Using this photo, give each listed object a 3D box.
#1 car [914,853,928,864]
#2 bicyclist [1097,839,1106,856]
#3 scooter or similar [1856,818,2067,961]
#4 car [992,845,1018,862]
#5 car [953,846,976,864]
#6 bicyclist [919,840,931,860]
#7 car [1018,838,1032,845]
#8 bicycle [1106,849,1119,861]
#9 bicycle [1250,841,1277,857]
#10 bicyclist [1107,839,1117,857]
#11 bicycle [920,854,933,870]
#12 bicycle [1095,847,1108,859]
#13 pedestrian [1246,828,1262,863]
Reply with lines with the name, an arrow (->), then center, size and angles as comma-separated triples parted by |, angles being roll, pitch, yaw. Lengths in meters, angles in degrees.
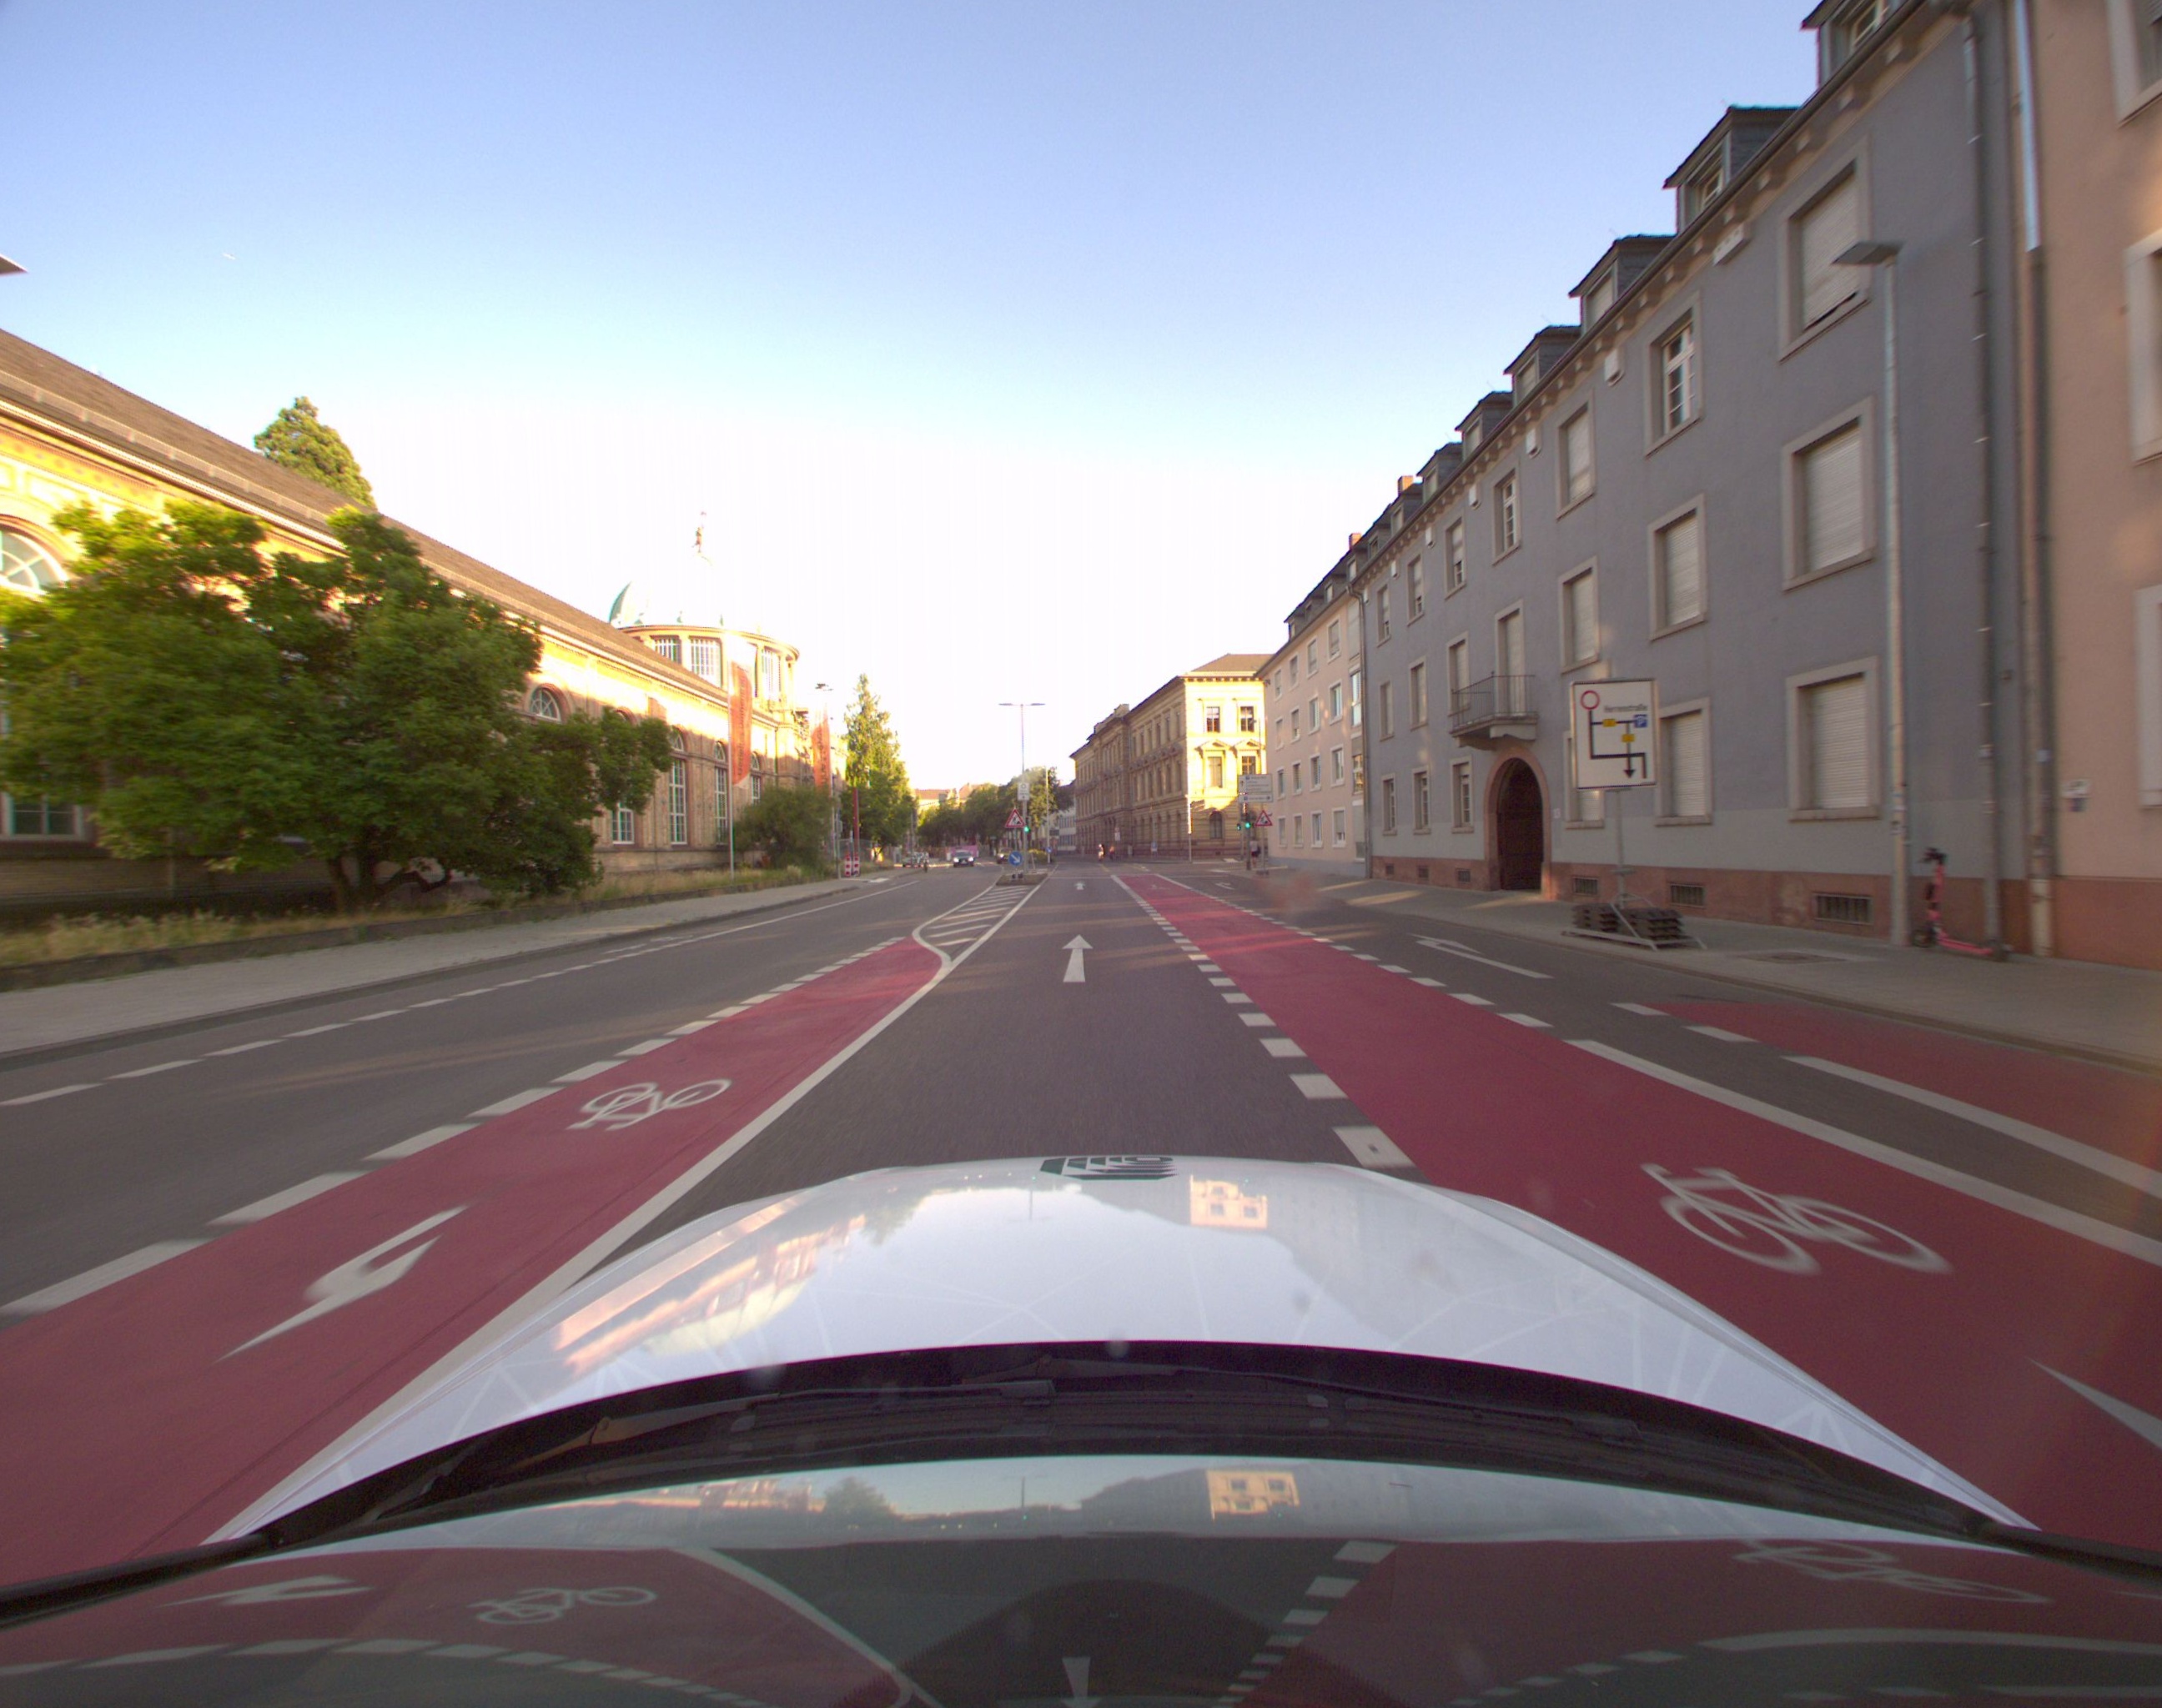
car -> -20.408, 0.565, 103.787 | 1.681, 1.351, 3.871 | -3, 1, -12
bicyclist -> 1.900, -0.601, 76.955 | 0.670, 1.566, 0.695 | 1, 0, -16
scooter or similar -> 10.002, 0.358, 9.357 | 0.721, 1.459, 1.677 | -4, 0, 10
car -> -7.386, -0.047, 79.516 | 1.837, 1.547, 4.123 | -2, 1, 4
car -> -10.608, 0.053, 74.228 | 1.821, 1.508, 4.418 | -2, 1, -6
bicyclist -> -11.750, -0.299, 61.524 | 0.746, 1.460, 0.935 | -3, 1, -7
car -> -11.969, -2.671, 173.680 | 1.819, 1.560, 3.837 | -1, 0, -21
bicycle -> 2.969, 0.100, 77.209 | 0.653, 1.071, 2.247 | 1, 0, -13
bicycle -> 15.568, -0.416, 69.424 | 2.045, 1.207, 0.861 | -2, 3, -3
bicyclist -> 2.944, -0.582, 77.334 | 0.650, 1.760, 0.860 | 0, 0, -14
bicycle -> -11.708, 0.581, 61.597 | 0.752, 1.090, 1.928 | -4, 1, -6
bicycle -> 1.914, -0.086, 76.885 | 0.671, 1.071, 1.891 | 0, 0, -16
pedestrian -> 10.174, -0.518, 47.857 | 0.779, 2.013, 0.998 | -1, 1, 15
